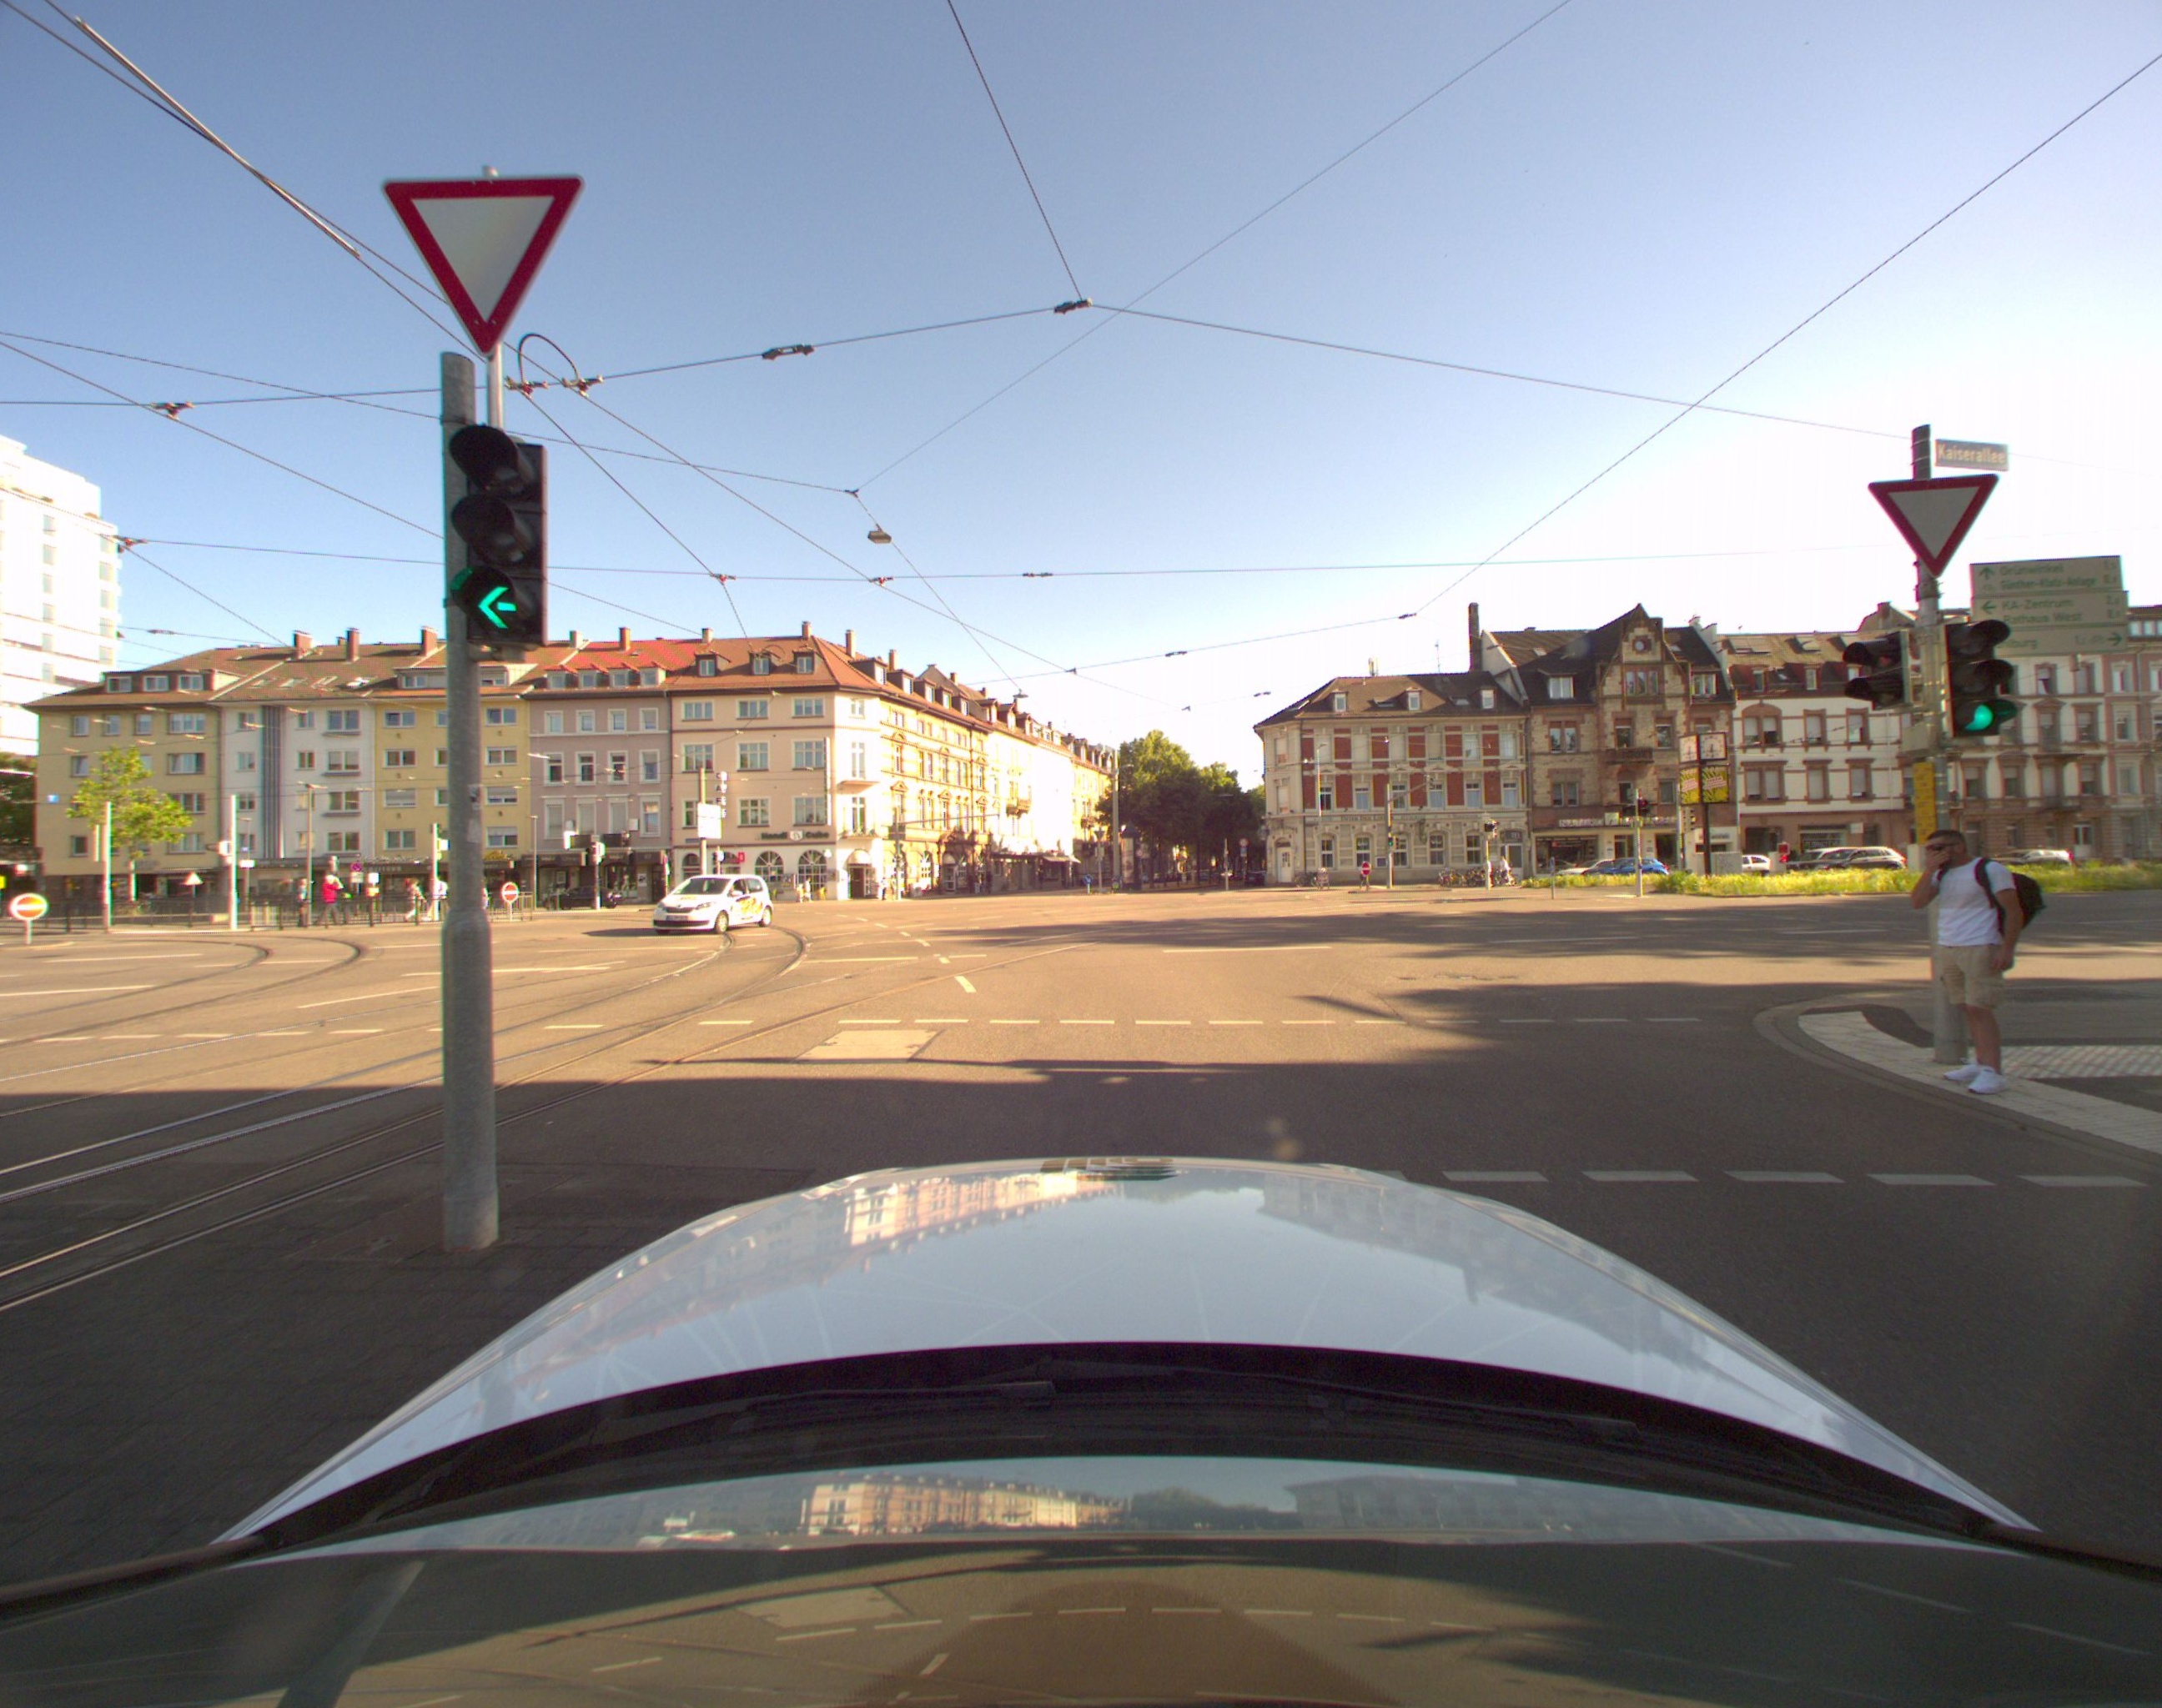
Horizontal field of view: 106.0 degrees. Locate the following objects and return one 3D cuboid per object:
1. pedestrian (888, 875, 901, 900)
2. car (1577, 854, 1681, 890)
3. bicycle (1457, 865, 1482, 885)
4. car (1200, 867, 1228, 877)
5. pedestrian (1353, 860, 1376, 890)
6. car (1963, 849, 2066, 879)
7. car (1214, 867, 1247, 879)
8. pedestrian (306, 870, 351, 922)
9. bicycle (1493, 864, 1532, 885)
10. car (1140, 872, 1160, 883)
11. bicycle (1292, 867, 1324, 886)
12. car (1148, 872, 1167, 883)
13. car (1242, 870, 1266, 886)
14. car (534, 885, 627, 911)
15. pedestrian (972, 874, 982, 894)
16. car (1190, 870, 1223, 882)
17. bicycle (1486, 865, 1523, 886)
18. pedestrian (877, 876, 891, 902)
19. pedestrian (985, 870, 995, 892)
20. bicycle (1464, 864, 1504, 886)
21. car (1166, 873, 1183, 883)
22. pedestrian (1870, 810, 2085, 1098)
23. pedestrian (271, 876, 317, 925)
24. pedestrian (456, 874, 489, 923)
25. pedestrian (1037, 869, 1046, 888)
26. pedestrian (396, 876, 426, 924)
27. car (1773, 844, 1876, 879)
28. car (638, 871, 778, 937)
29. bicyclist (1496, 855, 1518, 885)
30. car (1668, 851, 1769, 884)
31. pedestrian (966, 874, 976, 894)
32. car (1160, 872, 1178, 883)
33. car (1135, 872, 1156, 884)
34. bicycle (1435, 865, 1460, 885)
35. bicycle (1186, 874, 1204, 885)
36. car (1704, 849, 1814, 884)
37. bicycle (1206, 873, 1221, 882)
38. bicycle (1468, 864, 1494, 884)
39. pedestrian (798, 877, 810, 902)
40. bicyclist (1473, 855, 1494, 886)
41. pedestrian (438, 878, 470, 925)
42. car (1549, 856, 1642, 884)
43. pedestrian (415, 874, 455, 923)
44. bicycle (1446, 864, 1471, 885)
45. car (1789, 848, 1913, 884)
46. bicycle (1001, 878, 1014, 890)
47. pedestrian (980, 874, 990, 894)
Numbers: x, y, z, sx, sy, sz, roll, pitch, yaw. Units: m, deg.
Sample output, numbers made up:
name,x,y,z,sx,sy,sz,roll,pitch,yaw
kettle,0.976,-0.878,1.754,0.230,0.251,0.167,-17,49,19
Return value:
name,x,y,z,sx,sy,sz,roll,pitch,yaw
pedestrian,-12.502,2.250,54.529,0.626,1.642,0.554,-2,-1,15
car,28.157,0.914,41.954,3.973,1.668,1.955,-2,-1,1
bicycle,23.676,1.278,49.673,0.674,1.191,1.969,-2,-1,3
car,21.480,2.884,131.074,3.949,1.545,2.012,-2,-1,30
pedestrian,16.546,1.223,47.537,0.719,1.669,0.931,-1,-1,-27
car,56.823,0.627,49.607,3.973,1.668,1.955,-2,-1,1
car,20.727,2.662,113.186,3.948,1.545,2.013,-2,-1,32
pedestrian,-25.632,1.426,27.749,0.815,1.724,0.853,-2,-2,24
bicycle,25.538,1.234,48.229,1.955,1.191,0.601,-2,-1,-1
car,9.645,3.286,114.166,1.978,1.497,4.050,-2,-1,16
bicycle,15.012,1.508,53.857,1.950,1.191,0.547,-2,-1,6
car,11.254,3.393,119.367,1.978,1.497,4.050,-2,-1,16
car,16.804,2.308,79.054,1.978,1.497,4.050,-2,-1,16
car,-30.871,2.701,50.344,4.626,1.440,1.743,-2,-2,-1
pedestrian,-8.697,2.519,68.109,0.546,1.642,0.540,-2,-1,18
car,17.274,2.994,112.304,3.949,1.545,2.012,-2,-1,30
bicycle,25.573,1.281,49.224,1.961,1.191,0.677,-1,-1,-10
pedestrian,-12.830,2.269,53.091,0.670,1.642,0.580,-2,-1,15
pedestrian,-7.678,2.312,68.882,0.575,1.836,0.636,-2,-1,18
bicycle,23.472,1.223,47.420,1.952,1.191,0.602,-2,-1,4
car,15.274,3.851,133.210,1.978,1.497,4.050,-2,-1,16
pedestrian,5.973,0.620,5.449,0.691,1.740,0.668,-4,-2,-26
pedestrian,-26.610,1.570,27.558,0.855,1.631,0.812,-2,-2,19
pedestrian,-22.014,1.590,29.466,0.645,1.733,0.806,-3,-2,38
pedestrian,-3.978,2.519,82.560,0.676,1.908,0.636,-2,-1,18
pedestrian,-24.966,1.715,30.353,0.827,1.733,0.780,-1,-2,-38
car,45.064,0.450,49.453,4.388,1.965,1.955,-2,-1,1
car,-9.489,1.225,21.048,1.710,1.497,3.588,-2,-1,4
bicyclist,25.220,0.940,48.228,0.900,1.764,0.601,-2,-1,0
car,35.050,0.731,44.869,3.973,1.668,1.955,-2,-1,1
pedestrian,-9.252,2.485,68.242,0.622,1.642,0.540,-2,-1,19
car,13.895,3.684,128.521,1.978,1.497,4.050,-2,-1,16
car,8.680,3.193,109.700,1.978,1.497,4.050,-2,-1,16
bicycle,22.324,1.272,49.678,0.674,1.191,1.969,-2,-1,3
bicycle,11.121,2.467,79.521,0.586,1.067,1.928,-1,-1,-35
car,34.645,0.645,41.702,3.973,1.668,1.955,-2,-1,1
bicycle,15.639,2.772,95.917,0.586,1.067,1.928,-1,-1,-35
bicycle,24.347,1.222,49.652,0.674,1.191,1.969,-2,-1,3
pedestrian,-17.580,2.233,51.727,0.660,1.524,0.690,-1,-1,-19
bicyclist,23.440,0.962,47.423,0.869,1.764,0.602,-2,-1,4
pedestrian,-24.022,1.803,31.212,0.909,1.733,0.831,-1,-2,-36
car,28.345,0.880,44.948,3.973,1.412,1.846,-2,-1,1
pedestrian,-23.438,1.616,29.581,0.784,1.733,0.823,-1,-1,-3
bicycle,23.025,1.236,49.689,0.674,1.191,1.969,-2,-1,3
car,39.301,0.610,41.648,4.456,1.668,1.955,-2,-1,1
bicycle,-6.916,2.840,76.715,0.491,1.067,1.778,-2,-1,18
pedestrian,-8.060,2.491,68.195,0.546,1.642,0.636,-2,-1,18
